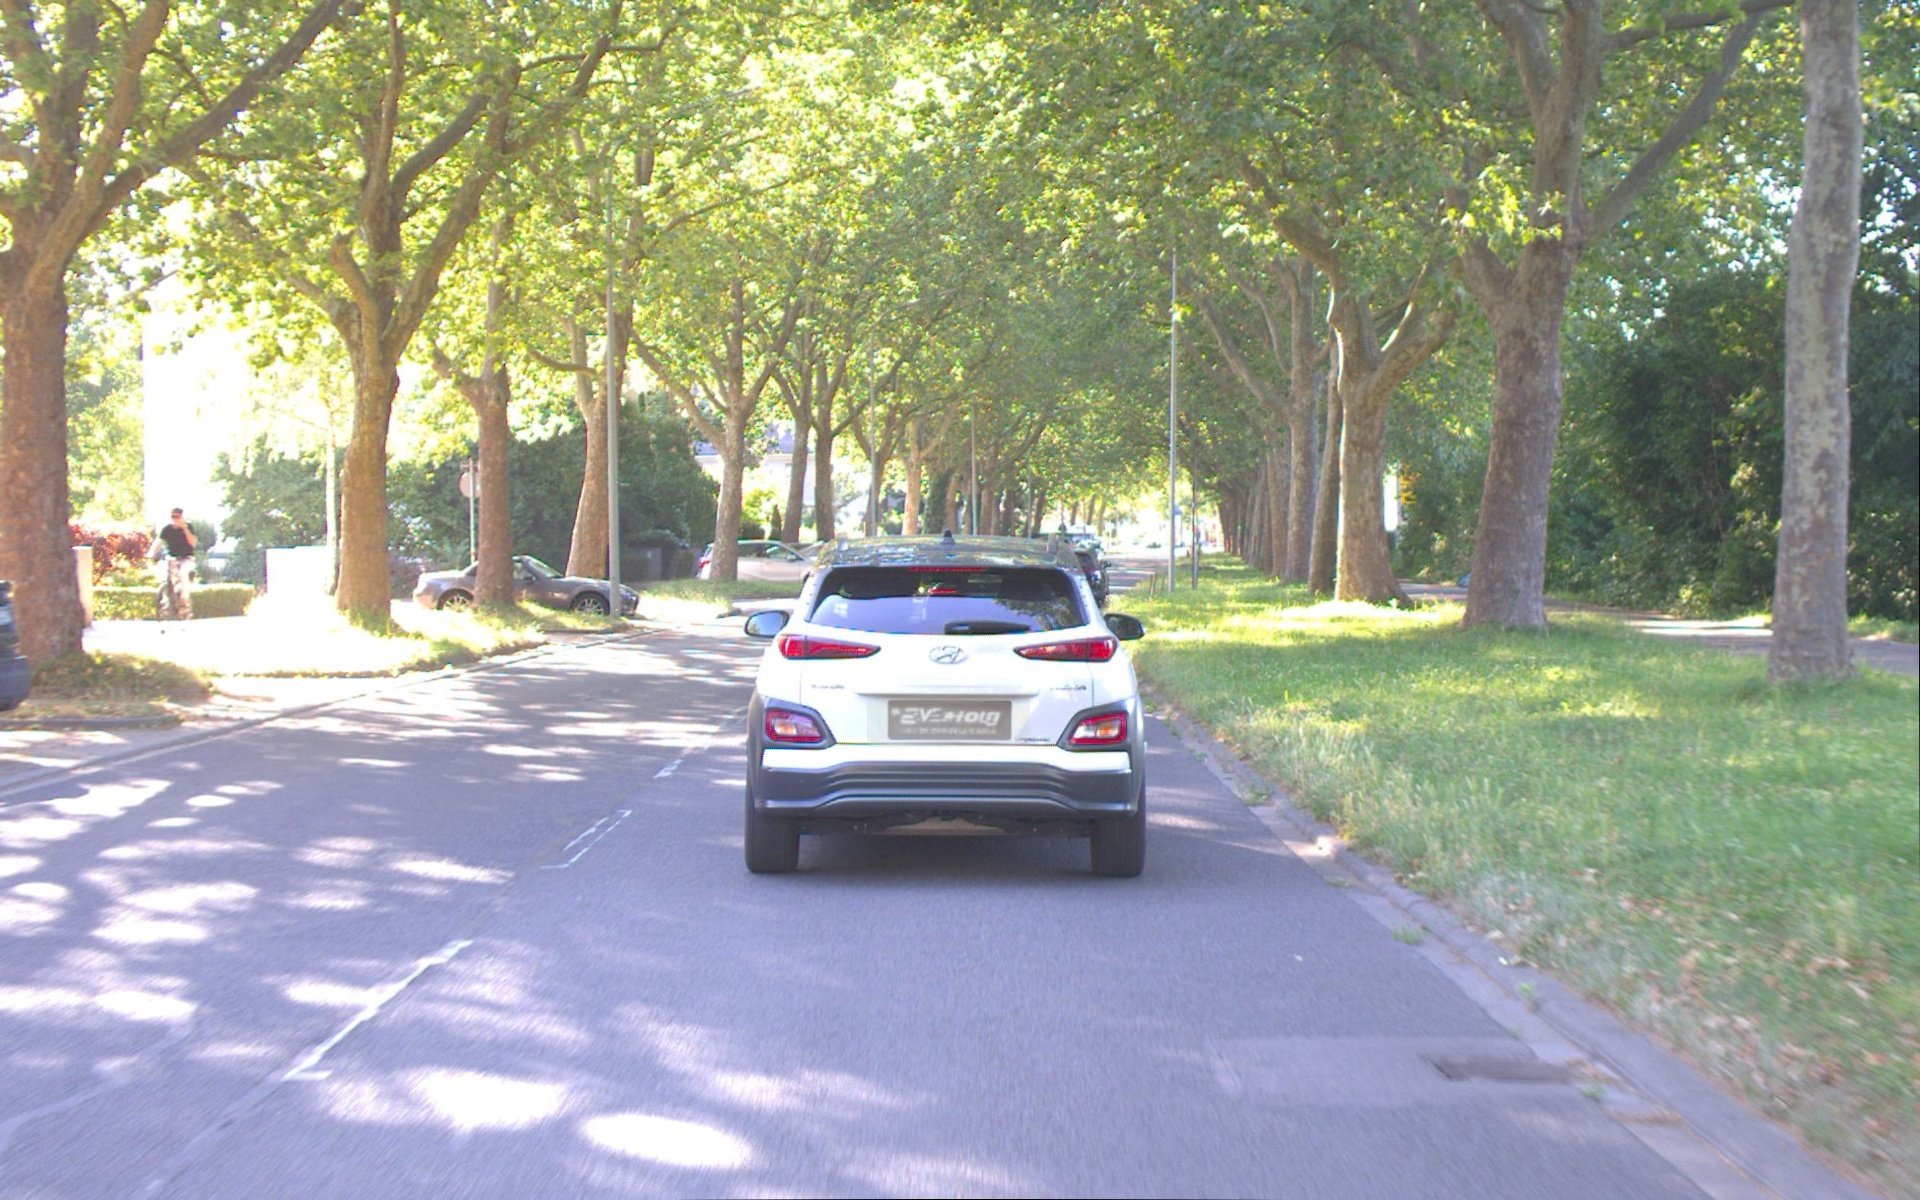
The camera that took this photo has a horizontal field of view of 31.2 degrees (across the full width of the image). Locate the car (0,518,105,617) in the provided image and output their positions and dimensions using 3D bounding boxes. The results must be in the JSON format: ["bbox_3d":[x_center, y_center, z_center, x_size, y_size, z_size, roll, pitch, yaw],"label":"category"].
[{"bbox_3d":[-15.581,-0.562,53.574,3.987,1.459,1.901,2,1,2],"label":"car"}]

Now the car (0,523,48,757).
[{"bbox_3d":[-8.206,0.239,22.552,3.988,1.513,1.817,0,1,-2],"label":"car"}]

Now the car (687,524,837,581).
[{"bbox_3d":[-5.655,-1.357,98.440,4.183,1.579,2.000,0,1,0],"label":"car"}]

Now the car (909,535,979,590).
[{"bbox_3d":[-0.447,-1.075,97.943,1.784,1.507,3.838,1,1,3],"label":"car"}]

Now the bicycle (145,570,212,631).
[{"bbox_3d":[-11.769,0.001,51.816,0.470,0.877,2.156,0,1,1],"label":"bicycle"}]

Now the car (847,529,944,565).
[{"bbox_3d":[-2.721,-2.266,145.971,3.987,1.515,1.809,0,1,3],"label":"car"}]

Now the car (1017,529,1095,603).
[{"bbox_3d":[2.240,-0.808,80.962,1.676,1.690,3.745,0,1,-1],"label":"car"}]

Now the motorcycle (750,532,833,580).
[{"bbox_3d":[-4.938,-1.298,100.773,2.385,1.383,0.648,0,2,-1],"label":"motorcycle"}]

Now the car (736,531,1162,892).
[{"bbox_3d":[-0.150,0.455,16.883,1.835,1.550,4.001,0,1,-3],"label":"car"}]

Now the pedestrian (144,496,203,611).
[{"bbox_3d":[-11.833,-0.702,51.757,0.617,1.710,1.065,0,1,1],"label":"pedestrian"}]

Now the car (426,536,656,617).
[{"bbox_3d":[-7.420,-0.424,61.097,3.825,1.312,1.790,2,1,1],"label":"car"}]
